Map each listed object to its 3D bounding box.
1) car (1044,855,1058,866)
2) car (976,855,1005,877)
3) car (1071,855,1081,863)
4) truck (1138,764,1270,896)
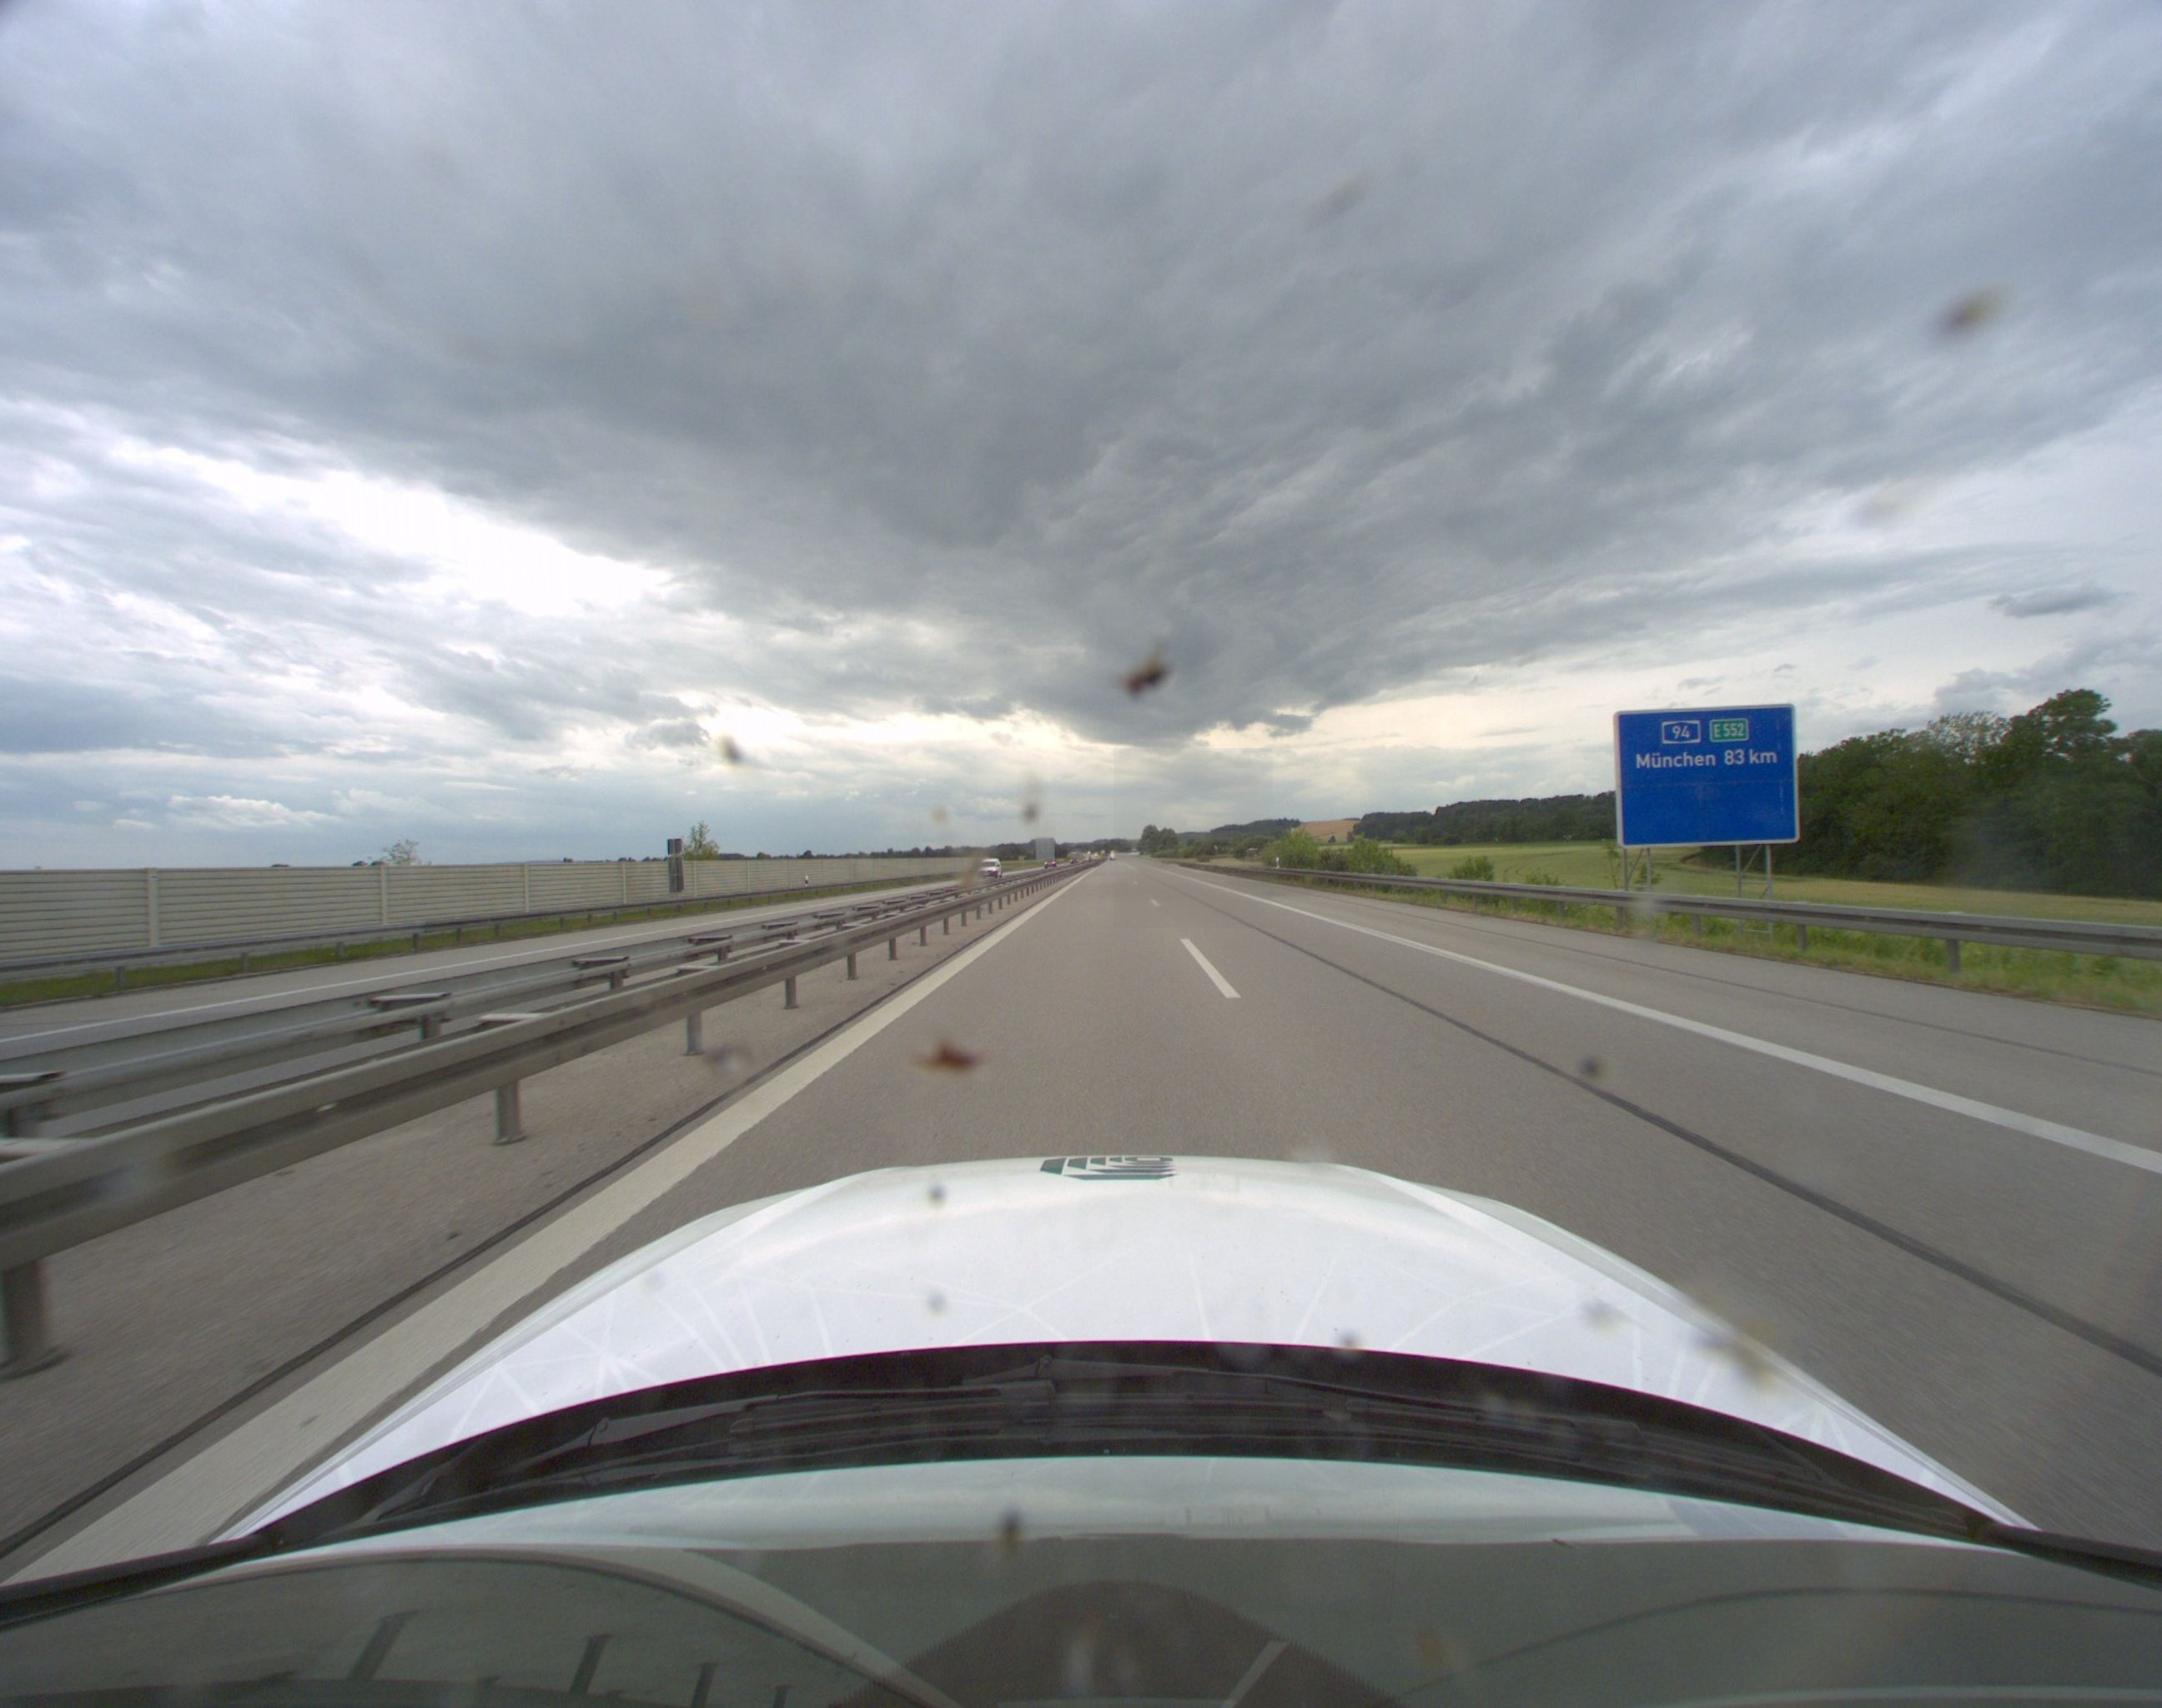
[{"bbox_3d":[-5.042,1.105,137.777,1.888,1.631,4.176,-5,0,2],"label":"car"},{"bbox_3d":[-8.194,1.059,74.151,1.749,1.742,4.916,-5,0,2],"label":"car"},{"bbox_3d":[-1.067,1.206,185.325,1.888,1.631,4.176,-5,0,2],"label":"car"},{"bbox_3d":[4.817,-0.878,36.318,3.659,4.412,16.346,-2,0,1],"label":"truck"}]
